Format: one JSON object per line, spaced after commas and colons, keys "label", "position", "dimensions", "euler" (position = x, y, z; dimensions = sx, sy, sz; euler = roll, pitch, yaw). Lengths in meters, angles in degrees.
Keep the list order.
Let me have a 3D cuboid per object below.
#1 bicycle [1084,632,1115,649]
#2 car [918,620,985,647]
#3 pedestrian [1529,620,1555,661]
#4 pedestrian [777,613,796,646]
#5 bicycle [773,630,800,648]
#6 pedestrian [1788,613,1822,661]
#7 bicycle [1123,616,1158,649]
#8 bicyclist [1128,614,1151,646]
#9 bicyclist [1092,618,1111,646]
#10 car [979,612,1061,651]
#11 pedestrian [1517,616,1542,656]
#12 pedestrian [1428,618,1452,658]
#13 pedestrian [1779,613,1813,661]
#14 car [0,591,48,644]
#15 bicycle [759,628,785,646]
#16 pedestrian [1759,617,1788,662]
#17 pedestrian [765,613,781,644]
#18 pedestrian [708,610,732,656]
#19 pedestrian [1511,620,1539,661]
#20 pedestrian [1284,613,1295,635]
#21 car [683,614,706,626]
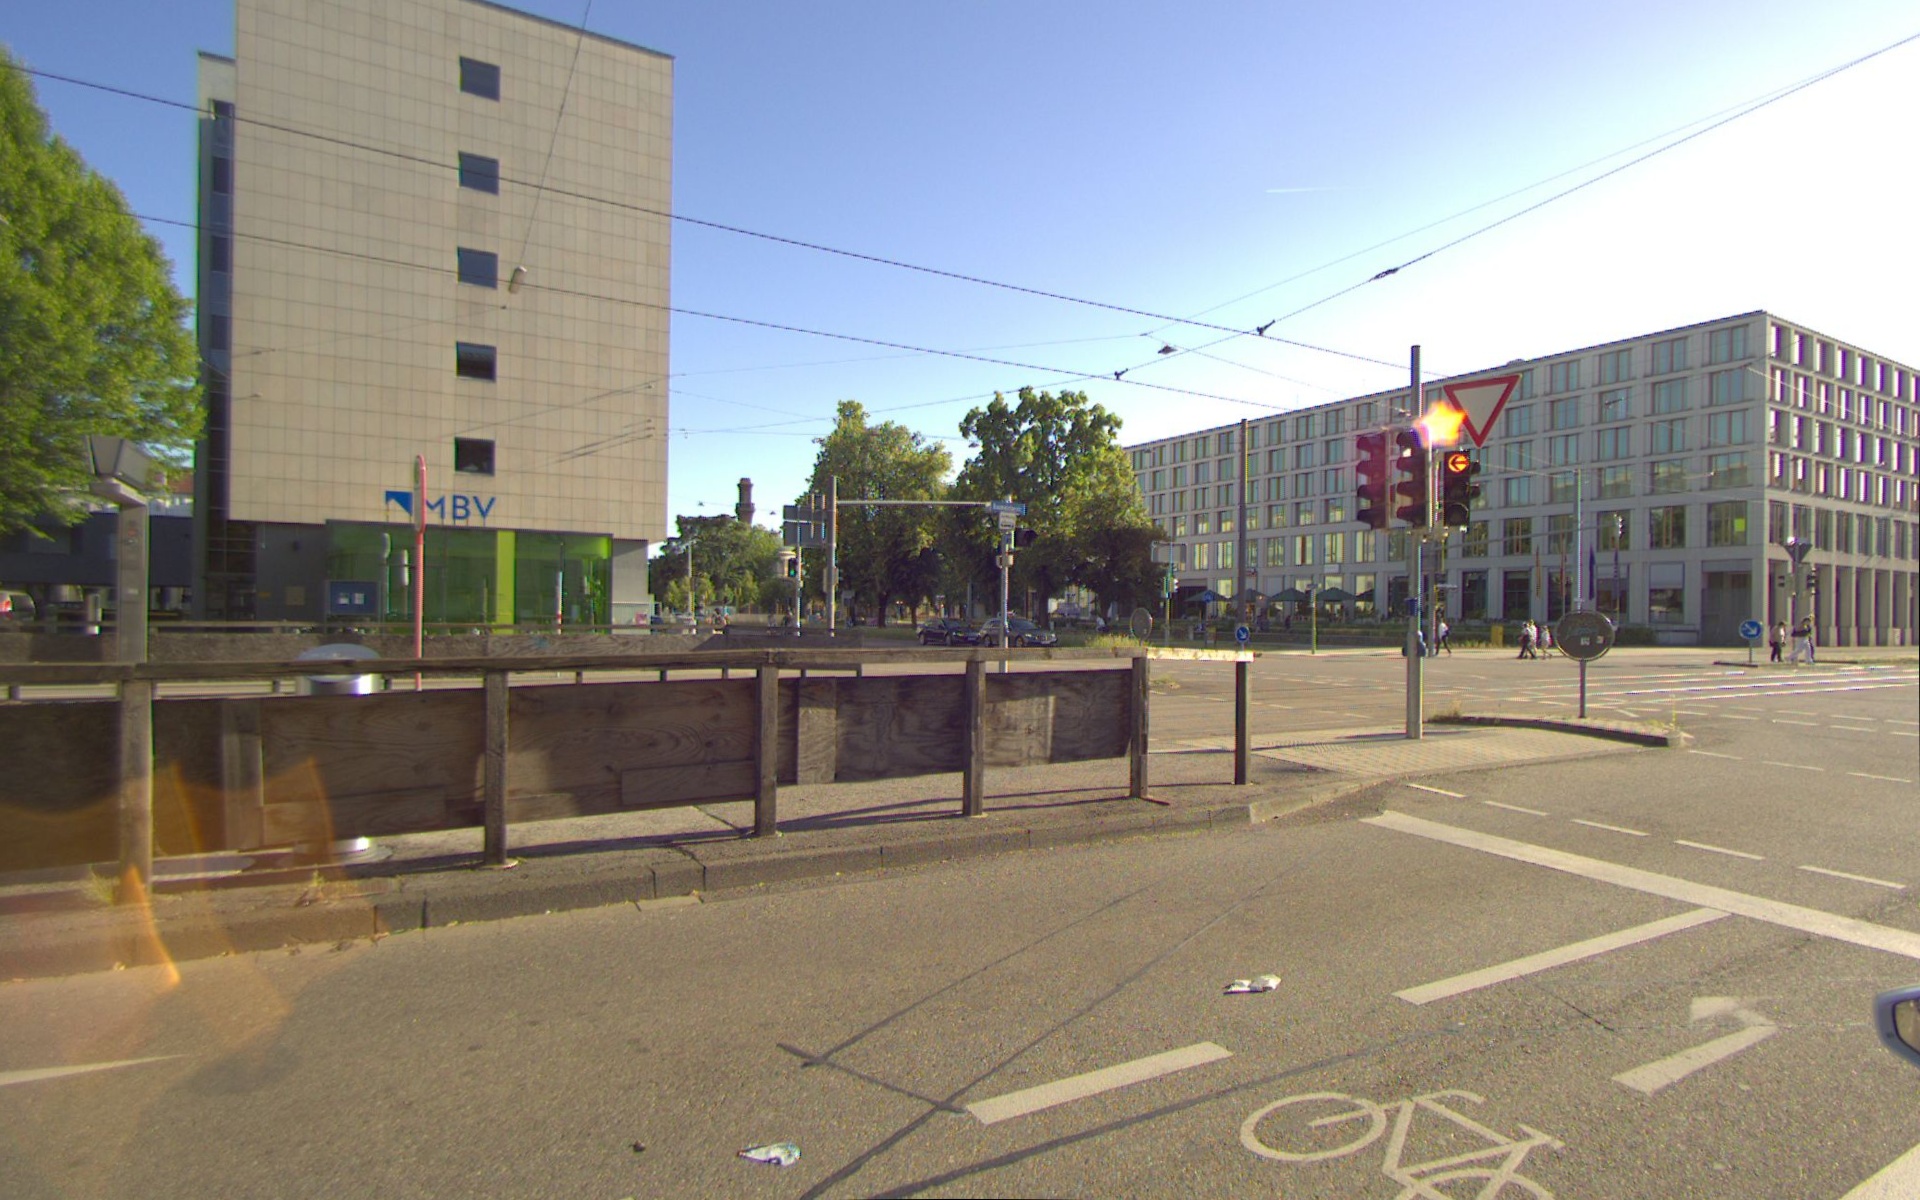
{"label": "bicycle", "position": [7.954, 2.290, 57.317], "dimensions": [0.569, 0.945, 2.052], "euler": [1, -1, -33]}
{"label": "car", "position": [-0.518, 1.756, 53.352], "dimensions": [1.755, 1.311, 4.209], "euler": [1, -1, -30]}
{"label": "pedestrian", "position": [26.437, 1.834, 45.655], "dimensions": [0.525, 1.827, 0.867], "euler": [1, -1, -24]}
{"label": "pedestrian", "position": [-9.854, 1.664, 56.997], "dimensions": [0.818, 1.829, 0.754], "euler": [1, -1, -31]}
{"label": "bicycle", "position": [-9.878, 2.186, 57.015], "dimensions": [0.818, 0.973, 2.132], "euler": [1, -1, -31]}
{"label": "pedestrian", "position": [31.513, 1.383, 37.466], "dimensions": [0.668, 1.784, 0.746], "euler": [2, -2, -25]}
{"label": "bicycle", "position": [9.694, 1.736, 54.060], "dimensions": [0.592, 1.758, 1.880], "euler": [1, -1, -41]}
{"label": "bicyclist", "position": [9.654, 1.613, 54.107], "dimensions": [0.592, 1.662, 1.065], "euler": [1, -1, -42]}
{"label": "bicyclist", "position": [8.030, 1.825, 57.204], "dimensions": [0.569, 1.581, 0.969], "euler": [1, -1, -33]}
{"label": "car", "position": [2.777, 1.467, 47.851], "dimensions": [1.829, 1.602, 4.496], "euler": [1, 1, -28]}
{"label": "pedestrian", "position": [26.475, 1.668, 46.727], "dimensions": [0.706, 1.827, 0.737], "euler": [1, -1, -24]}
{"label": "pedestrian", "position": [23.349, 1.833, 48.871], "dimensions": [0.628, 1.943, 0.800], "euler": [1, -1, -24]}
{"label": "pedestrian", "position": [29.709, 1.311, 35.699], "dimensions": [0.615, 1.666, 0.787], "euler": [1, -1, -34]}
{"label": "car", "position": [-27.755, 0.451, 27.767], "dimensions": [3.371, 1.431, 1.562], "euler": [2, 0, -20]}
{"label": "bicycle", "position": [-10.565, 2.072, 56.417], "dimensions": [0.669, 0.973, 2.131], "euler": [1, -1, -32]}
{"label": "pedestrian", "position": [30.570, 1.470, 37.754], "dimensions": [0.614, 1.666, 0.691], "euler": [1, -1, -29]}
{"label": "pedestrian", "position": [-10.483, 1.610, 56.299], "dimensions": [0.666, 1.739, 0.754], "euler": [1, -1, -32]}
{"label": "pedestrian", "position": [-9.169, 1.268, 38.372], "dimensions": [0.814, 1.739, 0.757], "euler": [1, -1, -18]}
{"label": "pedestrian", "position": [25.745, 1.835, 45.775], "dimensions": [0.654, 1.827, 0.868], "euler": [1, -1, -24]}
{"label": "pedestrian", "position": [25.694, 1.859, 78.408], "dimensions": [0.556, 1.691, 0.537], "euler": [2, 0, -33]}
{"label": "car", "position": [-31.666, 2.375, 119.815], "dimensions": [1.614, 1.452, 4.021], "euler": [3, -2, -31]}
